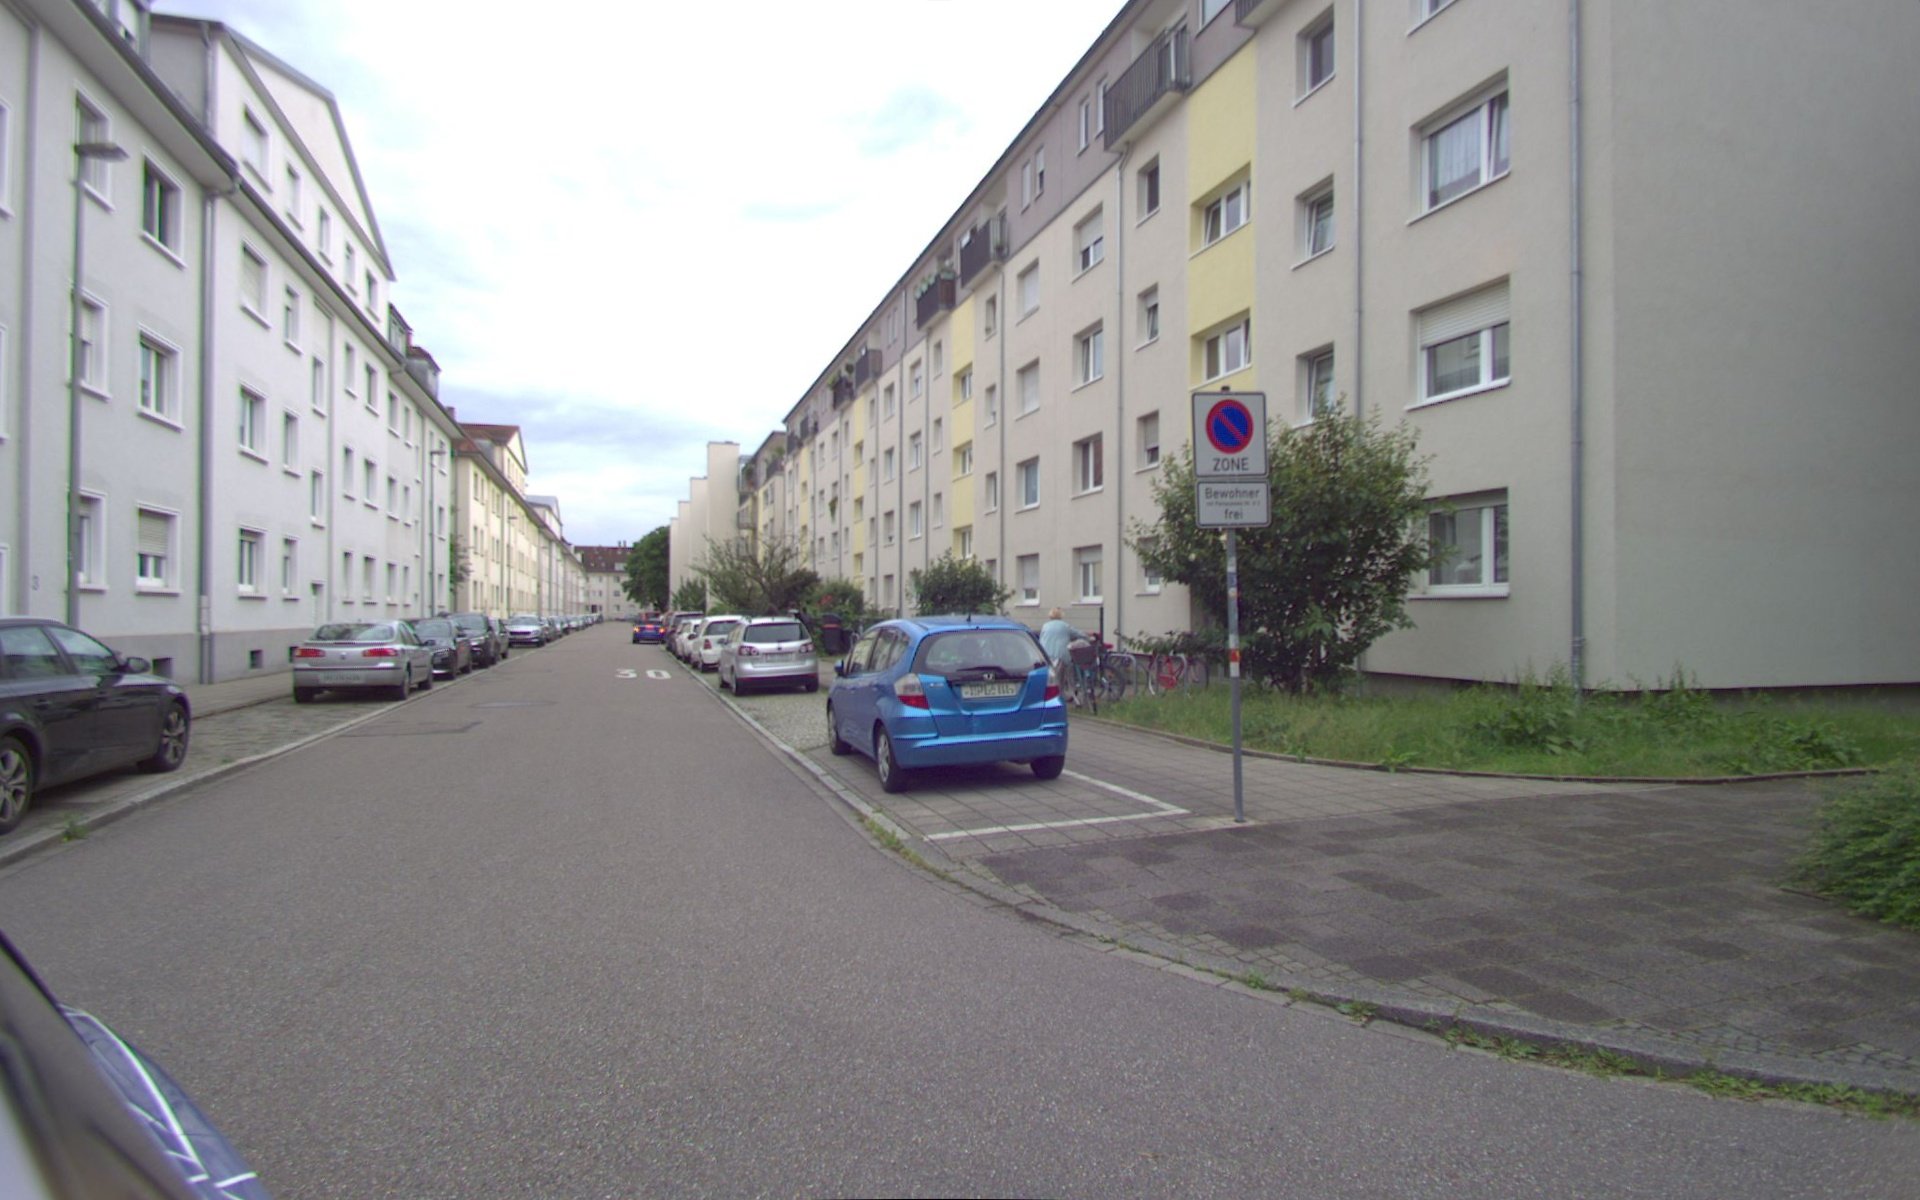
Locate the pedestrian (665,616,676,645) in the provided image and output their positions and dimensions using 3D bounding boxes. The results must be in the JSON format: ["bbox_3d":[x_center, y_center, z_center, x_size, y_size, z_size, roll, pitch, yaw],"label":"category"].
[{"bbox_3d":[-16.628,1.756,58.117,0.593,1.679,0.624,0,-2,-21],"label":"pedestrian"}]

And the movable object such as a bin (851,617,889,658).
[{"bbox_3d":[-3.225,1.319,36.096,1.041,1.385,1.193,0,0,-23],"label":"movable object such as a bin"}]

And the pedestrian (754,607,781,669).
[{"bbox_3d":[-5.996,1.185,31.485,0.631,1.878,0.977,-2,-1,-19],"label":"pedestrian"}]

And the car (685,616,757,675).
[{"bbox_3d":[-7.187,1.315,30.193,1.661,1.651,3.739,0,-1,-20],"label":"car"}]

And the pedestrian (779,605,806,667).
[{"bbox_3d":[-5.184,1.104,31.244,0.696,1.868,0.765,0,-2,-18],"label":"pedestrian"}]

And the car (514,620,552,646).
[{"bbox_3d":[-24.365,1.880,57.902,1.708,1.437,4.231,1,-2,-19],"label":"car"}]

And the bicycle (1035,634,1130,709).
[{"bbox_3d":[1.888,1.089,15.992,0.648,1.076,2.128,0,-2,-18],"label":"bicycle"}]

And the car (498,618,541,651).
[{"bbox_3d":[-21.482,1.667,49.440,1.708,1.559,3.689,1,-1,-20],"label":"car"}]

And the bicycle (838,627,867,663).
[{"bbox_3d":[-3.274,1.355,30.739,0.481,1.032,1.884,0,-1,-19],"label":"bicycle"}]

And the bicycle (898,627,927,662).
[{"bbox_3d":[-1.465,1.361,31.111,0.414,1.032,1.564,0,-1,-22],"label":"bicycle"}]

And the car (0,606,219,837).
[{"bbox_3d":[-7.510,0.791,7.611,1.834,1.474,4.740,1,-2,-20],"label":"car"}]

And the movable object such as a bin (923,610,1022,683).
[{"bbox_3d":[0.228,0.946,20.980,1.567,1.432,1.676,0,-2,-19],"label":"movable object such as a bin"}]

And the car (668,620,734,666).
[{"bbox_3d":[-9.130,1.472,35.467,1.694,1.521,4.702,0,-2,-21],"label":"car"}]

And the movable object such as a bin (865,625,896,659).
[{"bbox_3d":[-2.754,1.450,35.121,0.857,1.117,0.790,0,0,-22],"label":"movable object such as a bin"}]

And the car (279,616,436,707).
[{"bbox_3d":[-11.082,1.068,18.926,1.708,1.474,4.444,1,-2,-20],"label":"car"}]

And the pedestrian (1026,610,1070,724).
[{"bbox_3d":[1.232,0.930,14.284,0.440,1.561,0.569,0,-2,-14],"label":"pedestrian"}]

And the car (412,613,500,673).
[{"bbox_3d":[-14.673,1.222,29.678,1.822,1.611,4.173,1,-2,-20],"label":"car"}]

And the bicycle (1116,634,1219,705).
[{"bbox_3d":[3.348,1.094,16.547,0.648,1.079,2.182,0,-2,-18],"label":"bicycle"}]

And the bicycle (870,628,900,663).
[{"bbox_3d":[-2.302,1.368,30.862,0.471,1.032,1.760,0,-1,-19],"label":"bicycle"}]

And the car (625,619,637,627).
[{"bbox_3d":[-61.922,4.375,190.354,1.716,1.555,3.650,0,-2,-25],"label":"car"}]

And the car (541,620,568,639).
[{"bbox_3d":[-30.380,2.231,75.934,1.708,1.382,4.231,1,-2,-20],"label":"car"}]

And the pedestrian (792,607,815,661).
[{"bbox_3d":[-4.946,1.077,31.948,0.606,1.669,0.805,0,-2,-19],"label":"pedestrian"}]

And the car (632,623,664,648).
[{"bbox_3d":[-17.592,1.979,57.062,1.652,1.325,3.920,0,-2,-18],"label":"car"}]

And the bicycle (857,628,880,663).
[{"bbox_3d":[-2.793,1.373,30.788,0.351,1.032,1.502,0,-1,-19],"label":"bicycle"}]

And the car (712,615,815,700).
[{"bbox_3d":[-4.276,1.165,21.586,1.631,1.562,3.927,-2,-1,-18],"label":"car"}]

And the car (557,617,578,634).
[{"bbox_3d":[-36.482,2.372,94.184,1.708,1.463,4.231,1,-2,-20],"label":"car"}]

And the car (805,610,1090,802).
[{"bbox_3d":[-0.356,0.897,10.288,1.706,1.473,3.969,-2,-1,-19],"label":"car"}]

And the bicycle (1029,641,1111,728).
[{"bbox_3d":[1.517,1.144,14.249,0.529,1.128,1.823,0,-2,-14],"label":"bicycle"}]

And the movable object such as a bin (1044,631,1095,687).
[{"bbox_3d":[2.222,1.190,20.595,0.830,1.125,0.600,0,-2,-21],"label":"movable object such as a bin"}]

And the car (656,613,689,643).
[{"bbox_3d":[-17.868,1.743,62.774,1.678,1.820,3.553,0,-2,-21],"label":"car"}]

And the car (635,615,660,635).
[{"bbox_3d":[-32.996,2.610,106.780,2.151,2.047,4.437,0,-2,-21],"label":"car"}]

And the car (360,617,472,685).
[{"bbox_3d":[-13.005,1.172,24.449,1.756,1.474,4.336,1,-2,-20],"label":"car"}]

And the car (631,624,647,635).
[{"bbox_3d":[-45.476,4.133,143.133,1.716,1.555,3.650,0,-2,-25],"label":"car"}]

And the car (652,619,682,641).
[{"bbox_3d":[-19.887,2.027,68.638,1.678,1.455,3.553,0,-2,-21],"label":"car"}]

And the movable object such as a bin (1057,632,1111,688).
[{"bbox_3d":[2.442,1.169,19.960,0.851,1.059,0.636,0,-2,-20],"label":"movable object such as a bin"}]

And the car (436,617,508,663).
[{"bbox_3d":[-16.524,1.334,34.411,1.708,1.498,3.768,1,-2,-19],"label":"car"}]

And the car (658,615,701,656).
[{"bbox_3d":[-12.805,1.611,46.098,1.549,1.794,4.466,0,-2,-19],"label":"car"}]

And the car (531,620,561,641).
[{"bbox_3d":[-28.041,2.060,68.564,1.708,1.421,4.231,1,-2,-20],"label":"car"}]

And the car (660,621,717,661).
[{"bbox_3d":[-10.871,1.579,40.367,1.701,1.464,4.497,0,-1,-21],"label":"car"}]

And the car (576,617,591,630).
[{"bbox_3d":[-48.758,3.075,131.135,1.708,1.692,3.603,1,-2,-20],"label":"car"}]

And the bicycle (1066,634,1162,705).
[{"bbox_3d":[2.482,1.095,16.593,0.648,1.079,2.182,0,-2,-18],"label":"bicycle"}]
